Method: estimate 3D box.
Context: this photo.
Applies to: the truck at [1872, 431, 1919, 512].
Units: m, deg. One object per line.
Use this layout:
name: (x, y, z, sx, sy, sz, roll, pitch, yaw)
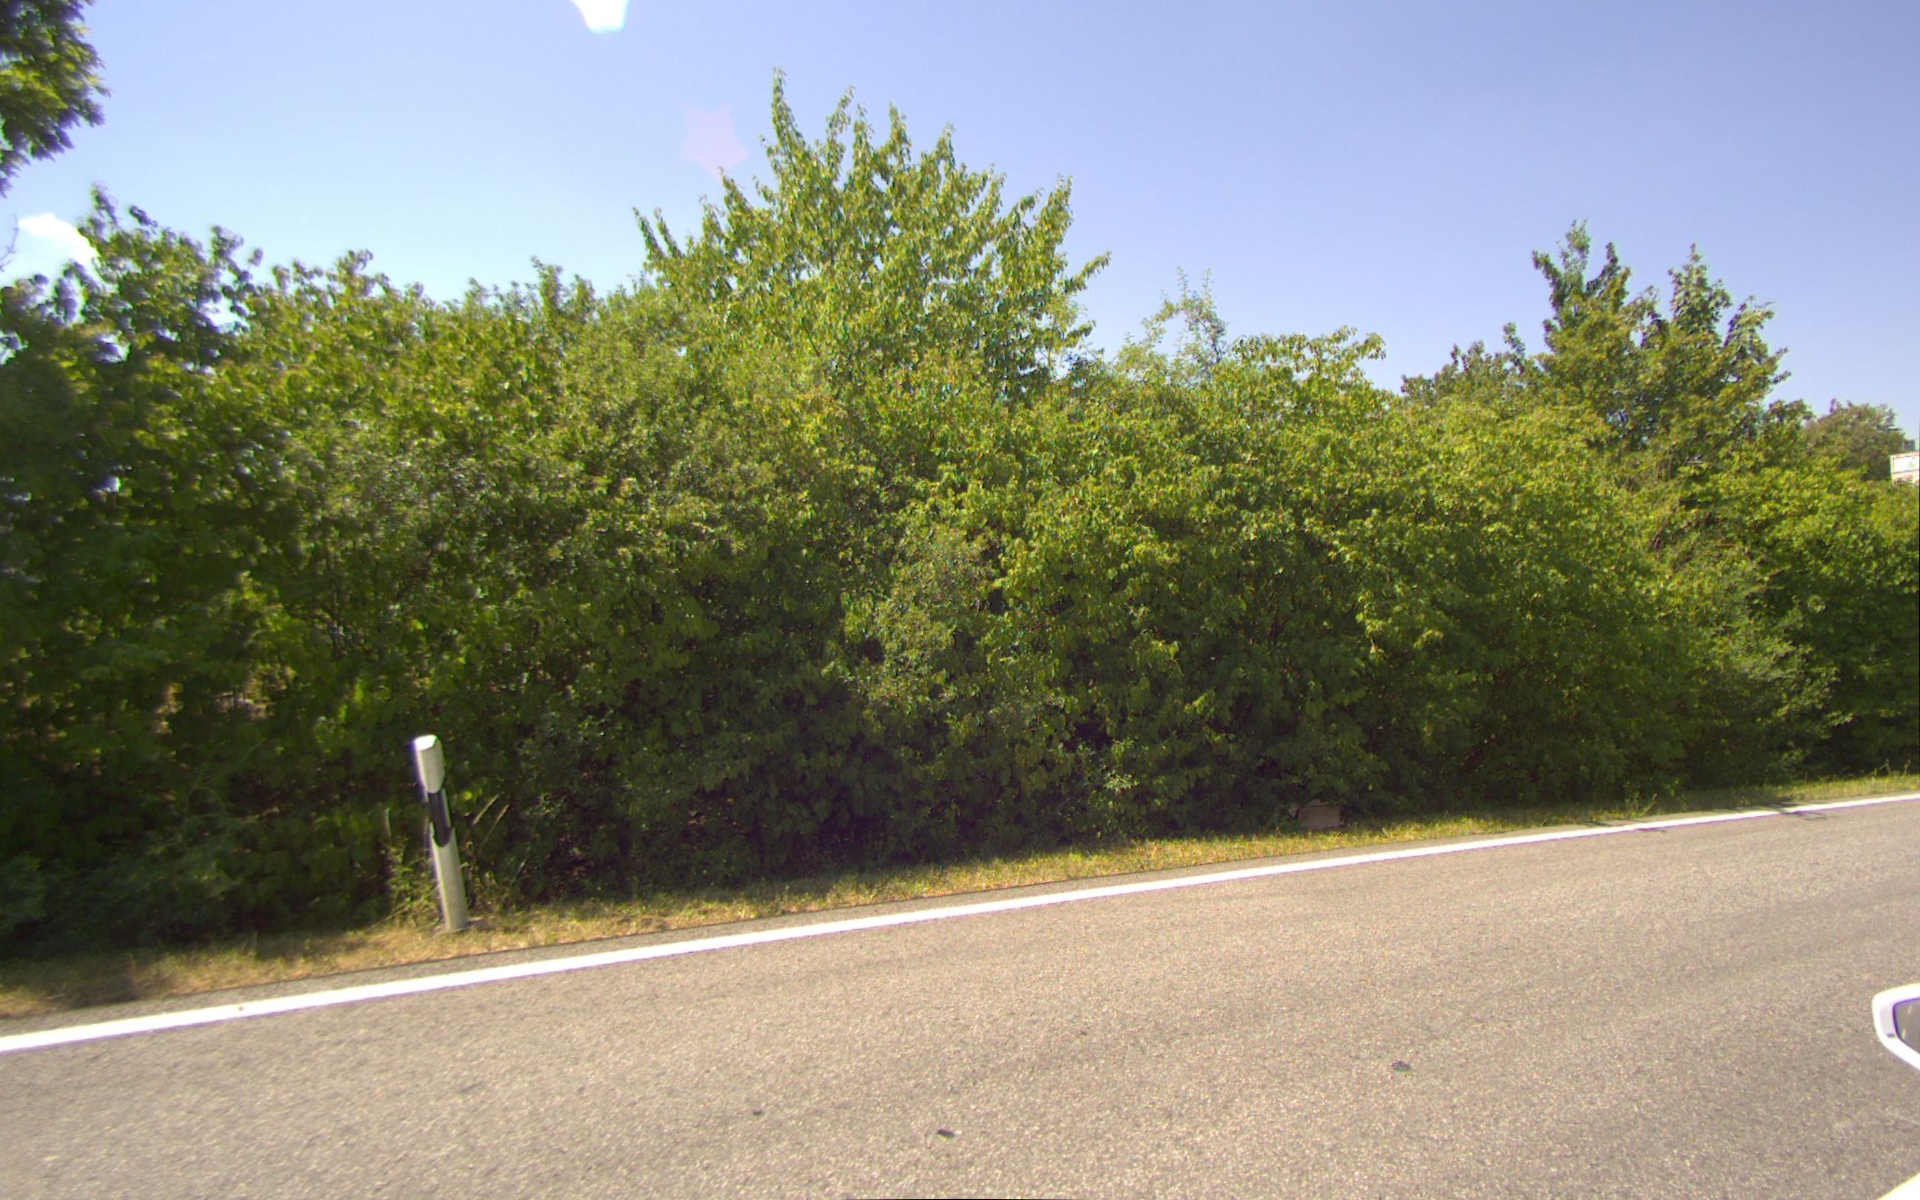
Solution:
truck: (50.126, -6.424, 49.864, 8.760, 3.636, 3.027, -3, -2, -18)
